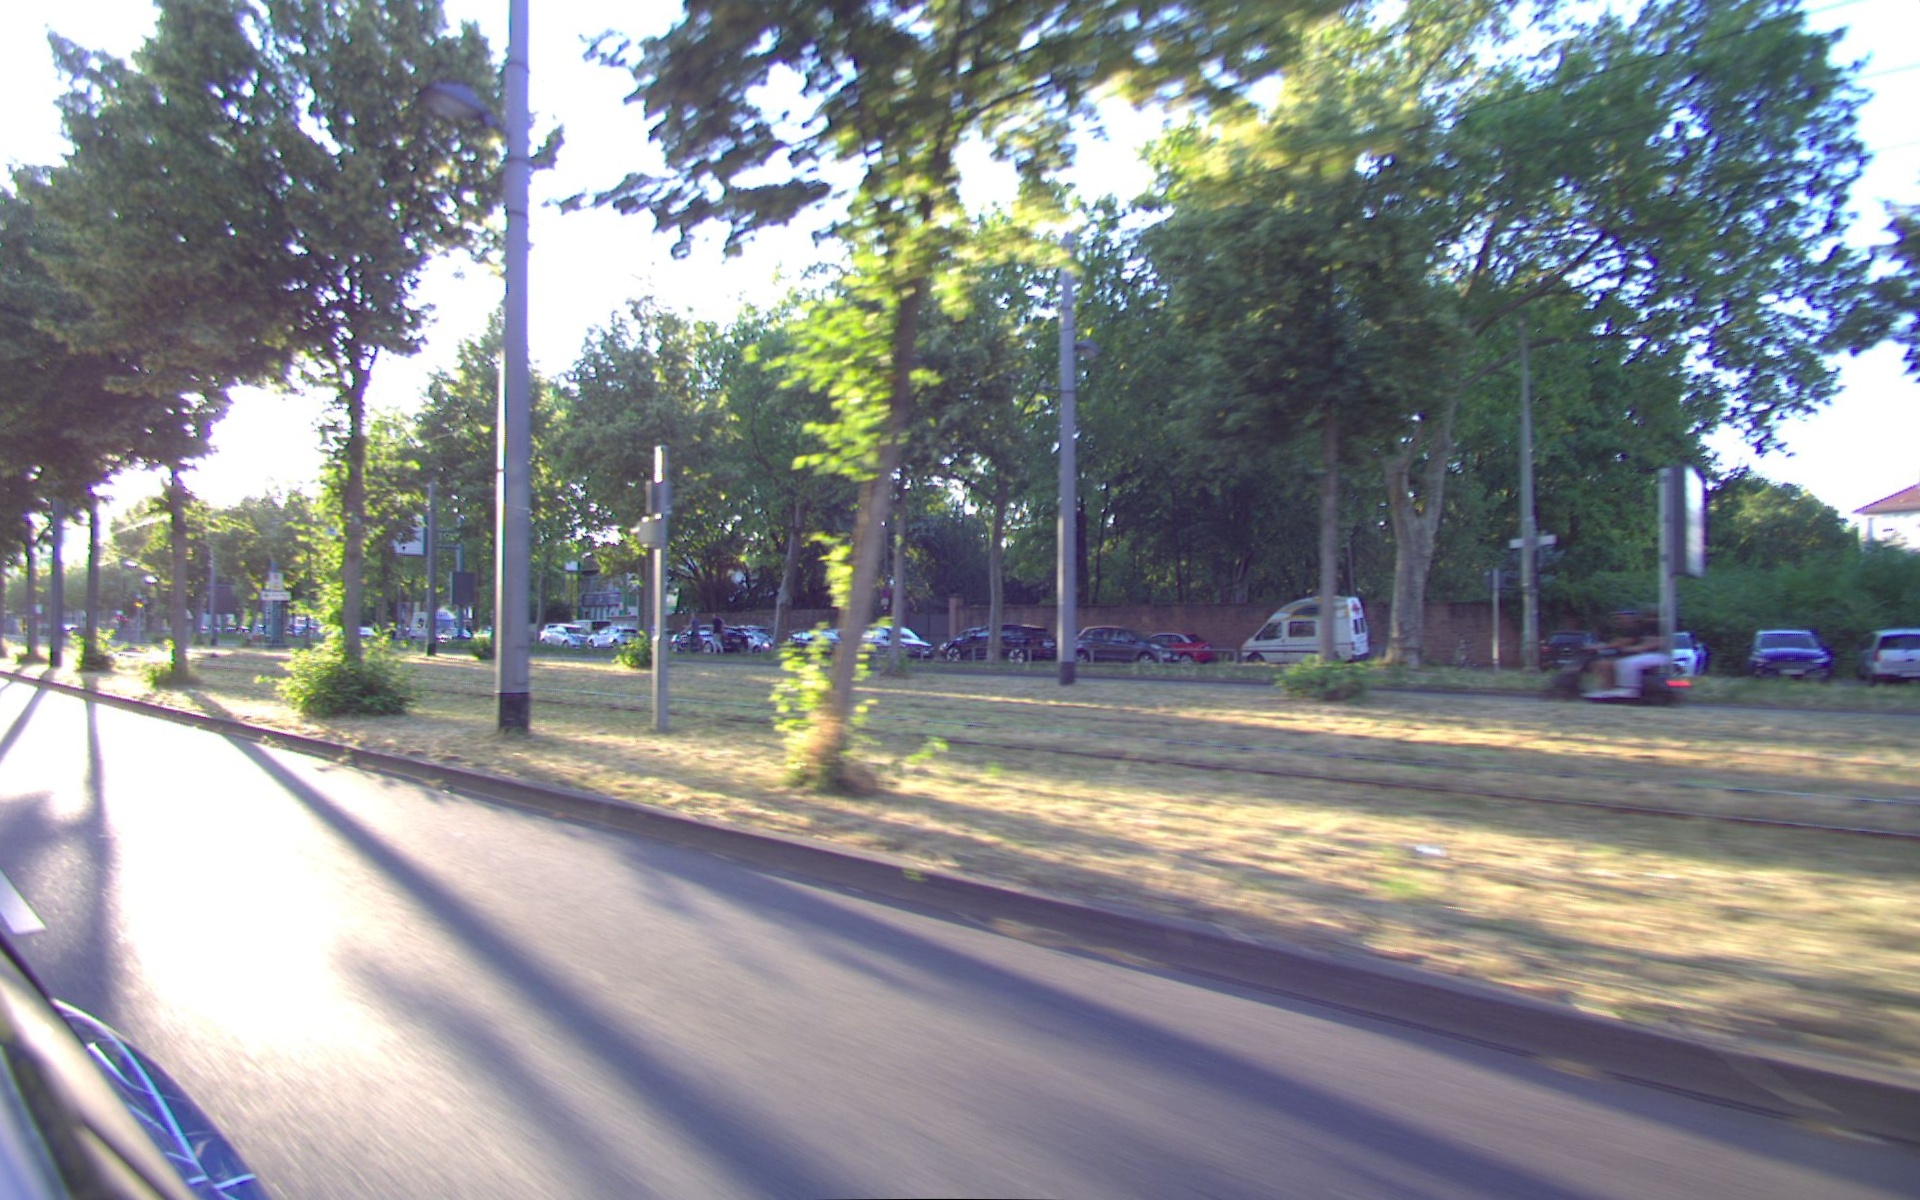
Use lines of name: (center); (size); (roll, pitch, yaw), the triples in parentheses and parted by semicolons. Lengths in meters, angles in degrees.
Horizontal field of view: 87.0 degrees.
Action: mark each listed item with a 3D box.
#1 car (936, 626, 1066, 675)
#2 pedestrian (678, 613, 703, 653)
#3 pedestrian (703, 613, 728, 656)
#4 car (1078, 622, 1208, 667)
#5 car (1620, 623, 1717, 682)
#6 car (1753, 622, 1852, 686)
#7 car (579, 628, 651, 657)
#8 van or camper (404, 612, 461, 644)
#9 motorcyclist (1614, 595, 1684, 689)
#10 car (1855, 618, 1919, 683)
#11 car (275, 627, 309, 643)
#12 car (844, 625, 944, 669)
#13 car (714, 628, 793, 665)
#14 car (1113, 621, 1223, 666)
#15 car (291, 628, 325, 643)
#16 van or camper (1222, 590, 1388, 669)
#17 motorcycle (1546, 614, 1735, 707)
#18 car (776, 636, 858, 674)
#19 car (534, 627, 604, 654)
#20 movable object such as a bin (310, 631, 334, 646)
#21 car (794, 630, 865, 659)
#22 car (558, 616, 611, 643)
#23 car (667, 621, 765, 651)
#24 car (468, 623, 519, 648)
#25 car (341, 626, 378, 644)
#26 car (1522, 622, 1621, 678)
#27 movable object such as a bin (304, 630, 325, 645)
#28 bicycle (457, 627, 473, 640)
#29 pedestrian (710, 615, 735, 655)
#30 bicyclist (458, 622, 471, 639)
car: (1.508, 1.868, 38.586); (4.787, 1.763, 1.973); (-1, -2, 40)
pedestrian: (-11.869, 1.467, 44.647); (0.865, 1.756, 0.686); (-2, -2, 39)
pedestrian: (-10.809, 1.515, 44.788); (0.864, 1.884, 0.687); (-1, -2, 33)
car: (6.336, 1.514, 35.132); (3.991, 1.497, 1.976); (-1, -2, 35)
car: (21.517, 1.544, 30.691); (1.922, 1.652, 3.944); (-2, -2, 42)
car: (23.754, 1.471, 28.654); (1.919, 1.652, 3.950); (-2, -2, 37)
car: (-19.105, 2.326, 55.938); (4.305, 1.511, 1.880); (-2, -2, 42)
van or camper: (-40.705, 2.157, 78.012); (2.258, 2.383, 5.786); (1, -2, -45)
motorcyclist: (10.574, 0.640, 15.535); (0.804, 1.386, 0.674); (-2, -2, 40)
car: (25.876, 1.327, 27.545); (1.919, 1.652, 3.950); (-2, -2, 37)
car: (-70.897, 3.697, 107.375); (4.296, 1.598, 1.972); (-2, -2, 42)
car: (-2.789, 1.919, 42.132); (1.970, 1.763, 4.163); (1, -2, -44)
car: (-10.372, 2.266, 50.640); (1.970, 1.763, 4.163); (1, -2, -44)
car: (8.549, 1.777, 41.773); (3.997, 1.763, 1.973); (-1, -2, 40)
car: (-66.519, 3.602, 103.299); (3.999, 1.459, 1.972); (-2, -2, 42)
van or camper: (12.815, 1.102, 37.853); (5.489, 2.756, 2.064); (-1, -2, 39)
motorcycle: (10.463, 0.909, 15.637); (2.343, 1.347, 0.675); (-2, -2, 40)
car: (-6.525, 2.455, 45.830); (1.782, 1.572, 3.841); (1, -2, -44)
car: (-23.012, 2.375, 59.548); (4.555, 1.510, 1.972); (-2, -2, 42)
movable object such as a bin: (-61.371, 3.672, 97.380); (1.724, 1.383, 1.536); (-2, -2, 42)
car: (-7.256, 2.455, 56.174); (1.969, 1.497, 4.004); (1, -2, -42)
car: (-29.353, 2.320, 79.057); (5.060, 2.029, 1.971); (-2, -2, 44)
car: (-11.706, 1.695, 48.341); (5.140, 1.325, 1.972); (-2, -2, 42)
car: (-31.289, 2.379, 67.809); (1.969, 1.652, 4.005); (1, -2, -42)
car: (-53.775, 3.155, 90.582); (4.053, 1.543, 1.790); (-2, -2, 42)
car: (19.541, 1.542, 32.264); (1.922, 1.652, 3.943); (-2, -2, 43)
movable object such as a bin: (-63.433, 3.697, 99.466); (1.701, 1.422, 1.393); (-2, -2, 42)
bicycle: (-44.812, 3.045, 91.585); (0.722, 1.099, 2.018); (1, -2, -44)
pedestrian: (-10.719, 1.578, 45.640); (0.864, 1.772, 0.687); (-1, -2, 33)
bicyclist: (-44.867, 2.738, 91.642); (0.720, 1.545, 1.086); (1, -2, -44)
